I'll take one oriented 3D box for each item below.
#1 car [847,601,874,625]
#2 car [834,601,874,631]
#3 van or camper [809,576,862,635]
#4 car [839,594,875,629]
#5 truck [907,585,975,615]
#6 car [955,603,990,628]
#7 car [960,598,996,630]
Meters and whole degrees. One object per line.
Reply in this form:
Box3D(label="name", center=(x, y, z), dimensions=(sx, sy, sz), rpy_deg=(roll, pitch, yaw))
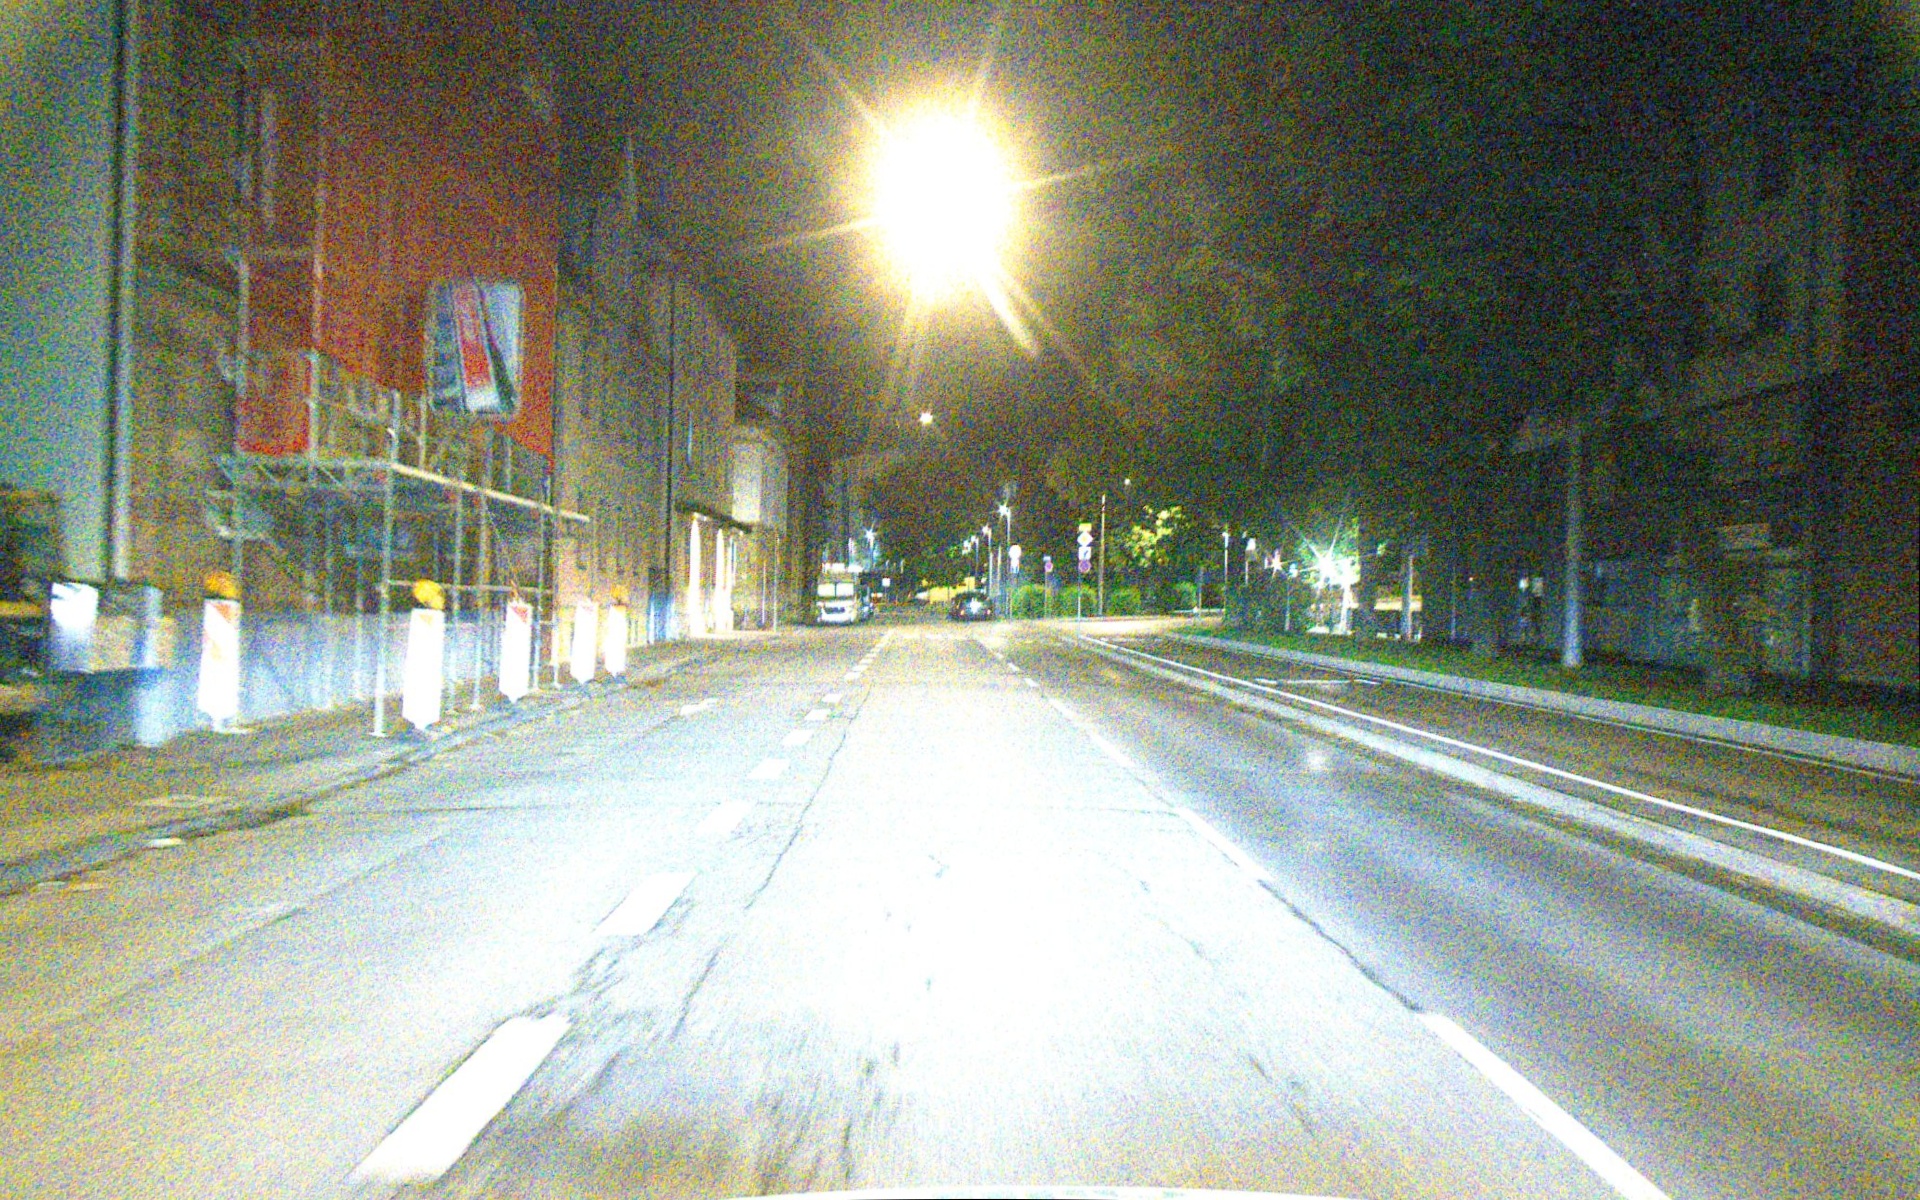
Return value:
Box3D(label="car", center=(-6.673, 0.857, 110.898), dimensions=(1.670, 1.536, 4.098), rpy_deg=(1, -1, -2))
Box3D(label="car", center=(-5.709, 0.855, 88.459), dimensions=(1.804, 1.533, 4.733), rpy_deg=(0, 0, -8))
Box3D(label="van or camper", center=(-5.786, 0.280, 77.468), dimensions=(2.115, 2.580, 6.224), rpy_deg=(-2, 0, -2))
Box3D(label="car", center=(-6.114, 0.671, 98.471), dimensions=(1.953, 1.989, 4.804), rpy_deg=(0, 0, -1))
Box3D(label="truck", center=(-1.903, 0.008, 165.533), dimensions=(6.643, 2.894, 1.998), rpy_deg=(1, 0, -4))
Box3D(label="car", center=(0.681, 0.898, 93.500), dimensions=(1.923, 1.407, 3.999), rpy_deg=(0, -1, -1))
Box3D(label="car", center=(0.960, 0.738, 88.154), dimensions=(1.845, 1.631, 4.107), rpy_deg=(-1, -1, 1))
